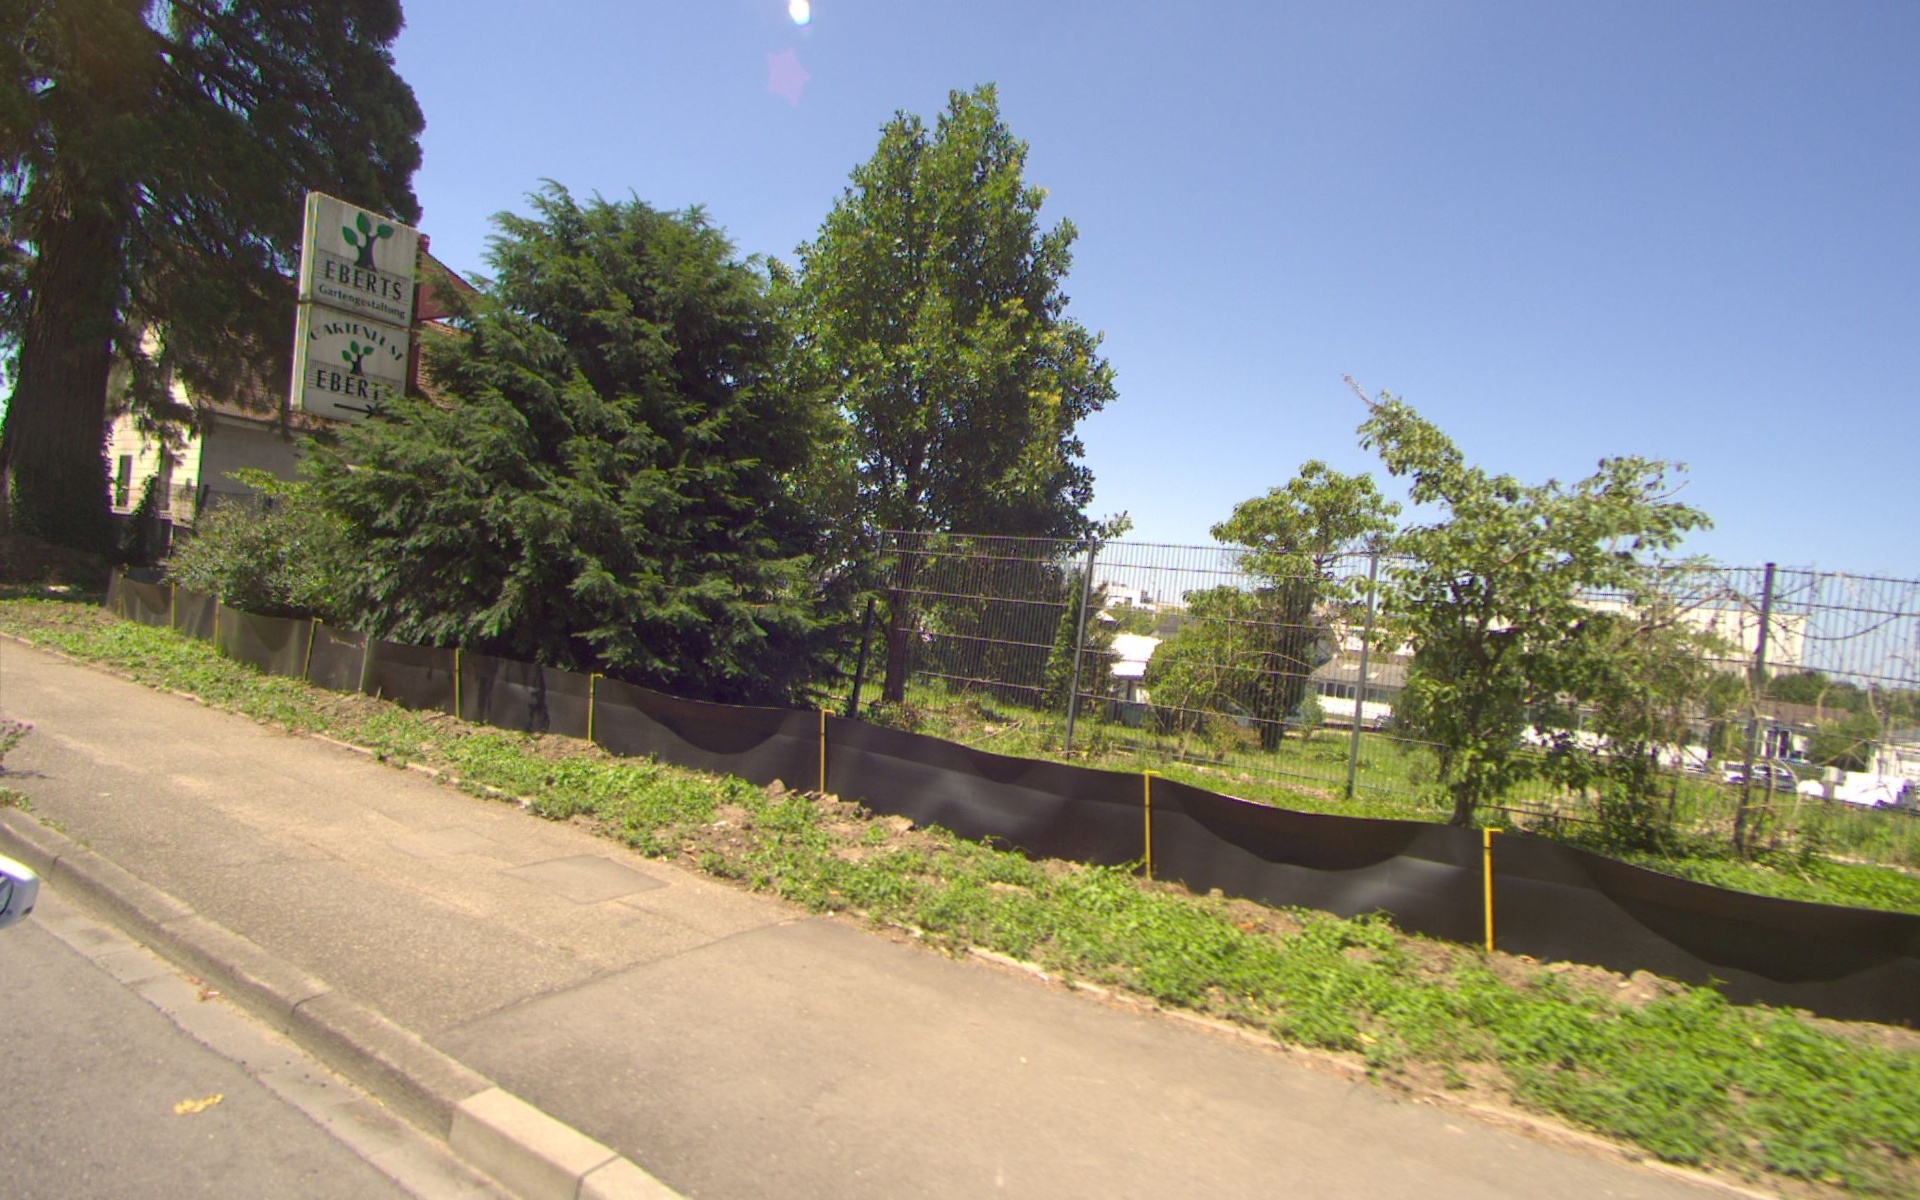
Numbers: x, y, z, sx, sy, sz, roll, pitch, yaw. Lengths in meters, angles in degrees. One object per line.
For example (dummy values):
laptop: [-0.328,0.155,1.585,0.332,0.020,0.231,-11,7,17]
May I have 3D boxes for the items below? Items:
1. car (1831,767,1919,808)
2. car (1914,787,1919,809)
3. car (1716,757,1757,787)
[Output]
car: [66.730,13.667,73.365,1.849,2.037,4.319,8,-1,-23]
car: [78.642,16.083,79.824,3.785,1.639,1.934,7,-1,32]
car: [60.008,13.292,77.786,1.968,1.759,3.992,7,-2,33]
